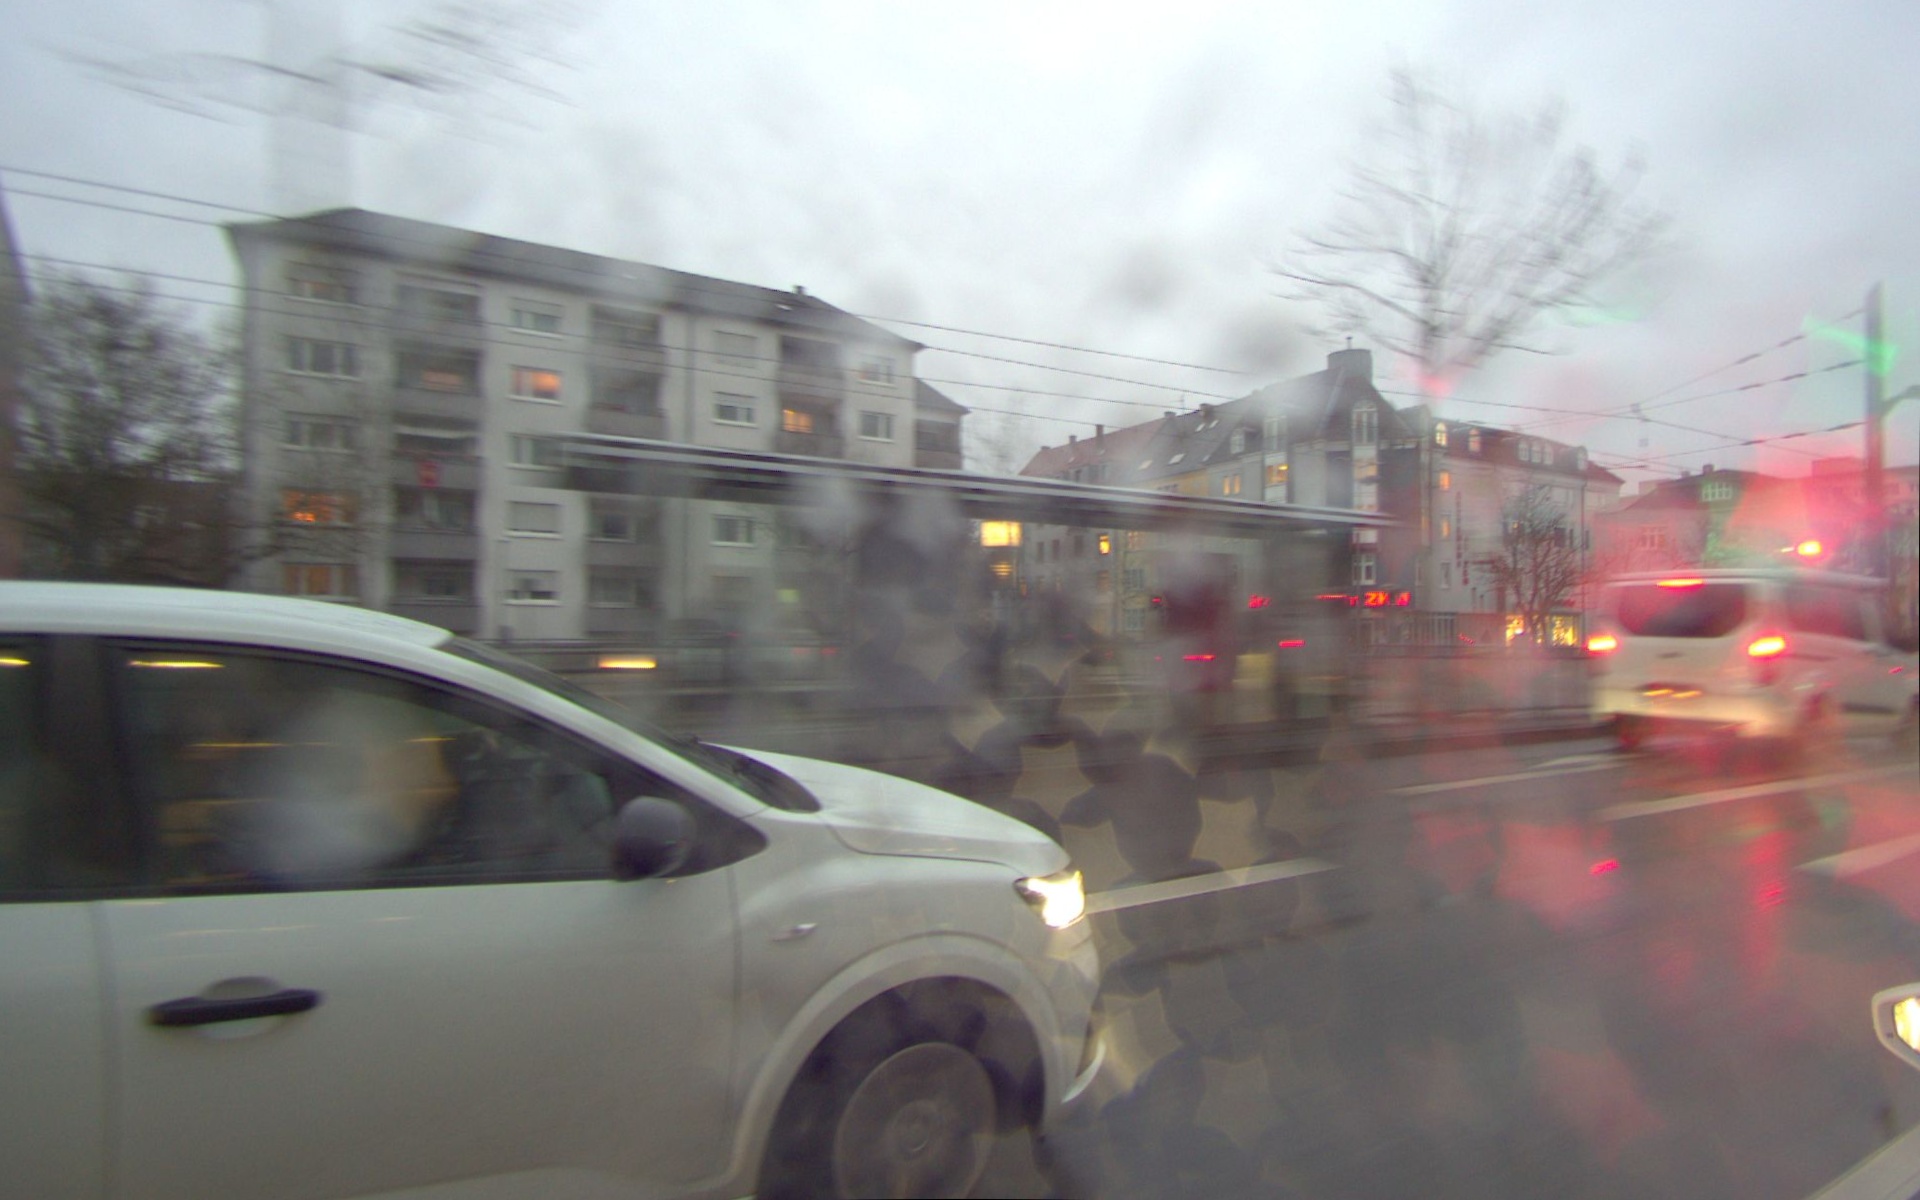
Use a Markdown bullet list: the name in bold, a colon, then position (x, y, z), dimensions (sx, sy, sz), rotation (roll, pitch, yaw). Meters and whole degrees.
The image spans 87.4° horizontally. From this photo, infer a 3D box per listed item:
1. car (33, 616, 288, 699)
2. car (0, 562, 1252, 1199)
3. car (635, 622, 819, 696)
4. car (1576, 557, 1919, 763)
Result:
- **car**: position (-15.935, 1.146, 20.288), dimensions (3.714, 1.517, 1.751), rotation (2, -1, -29)
- **car**: position (-1.361, 0.709, 2.455), dimensions (3.952, 1.485, 1.700), rotation (2, -1, -29)
- **car**: position (-5.242, 1.310, 22.610), dimensions (3.711, 1.517, 1.752), rotation (2, -1, -27)
- **car**: position (9.745, 0.662, 12.108), dimensions (4.826, 2.060, 1.943), rotation (1, -1, -30)
